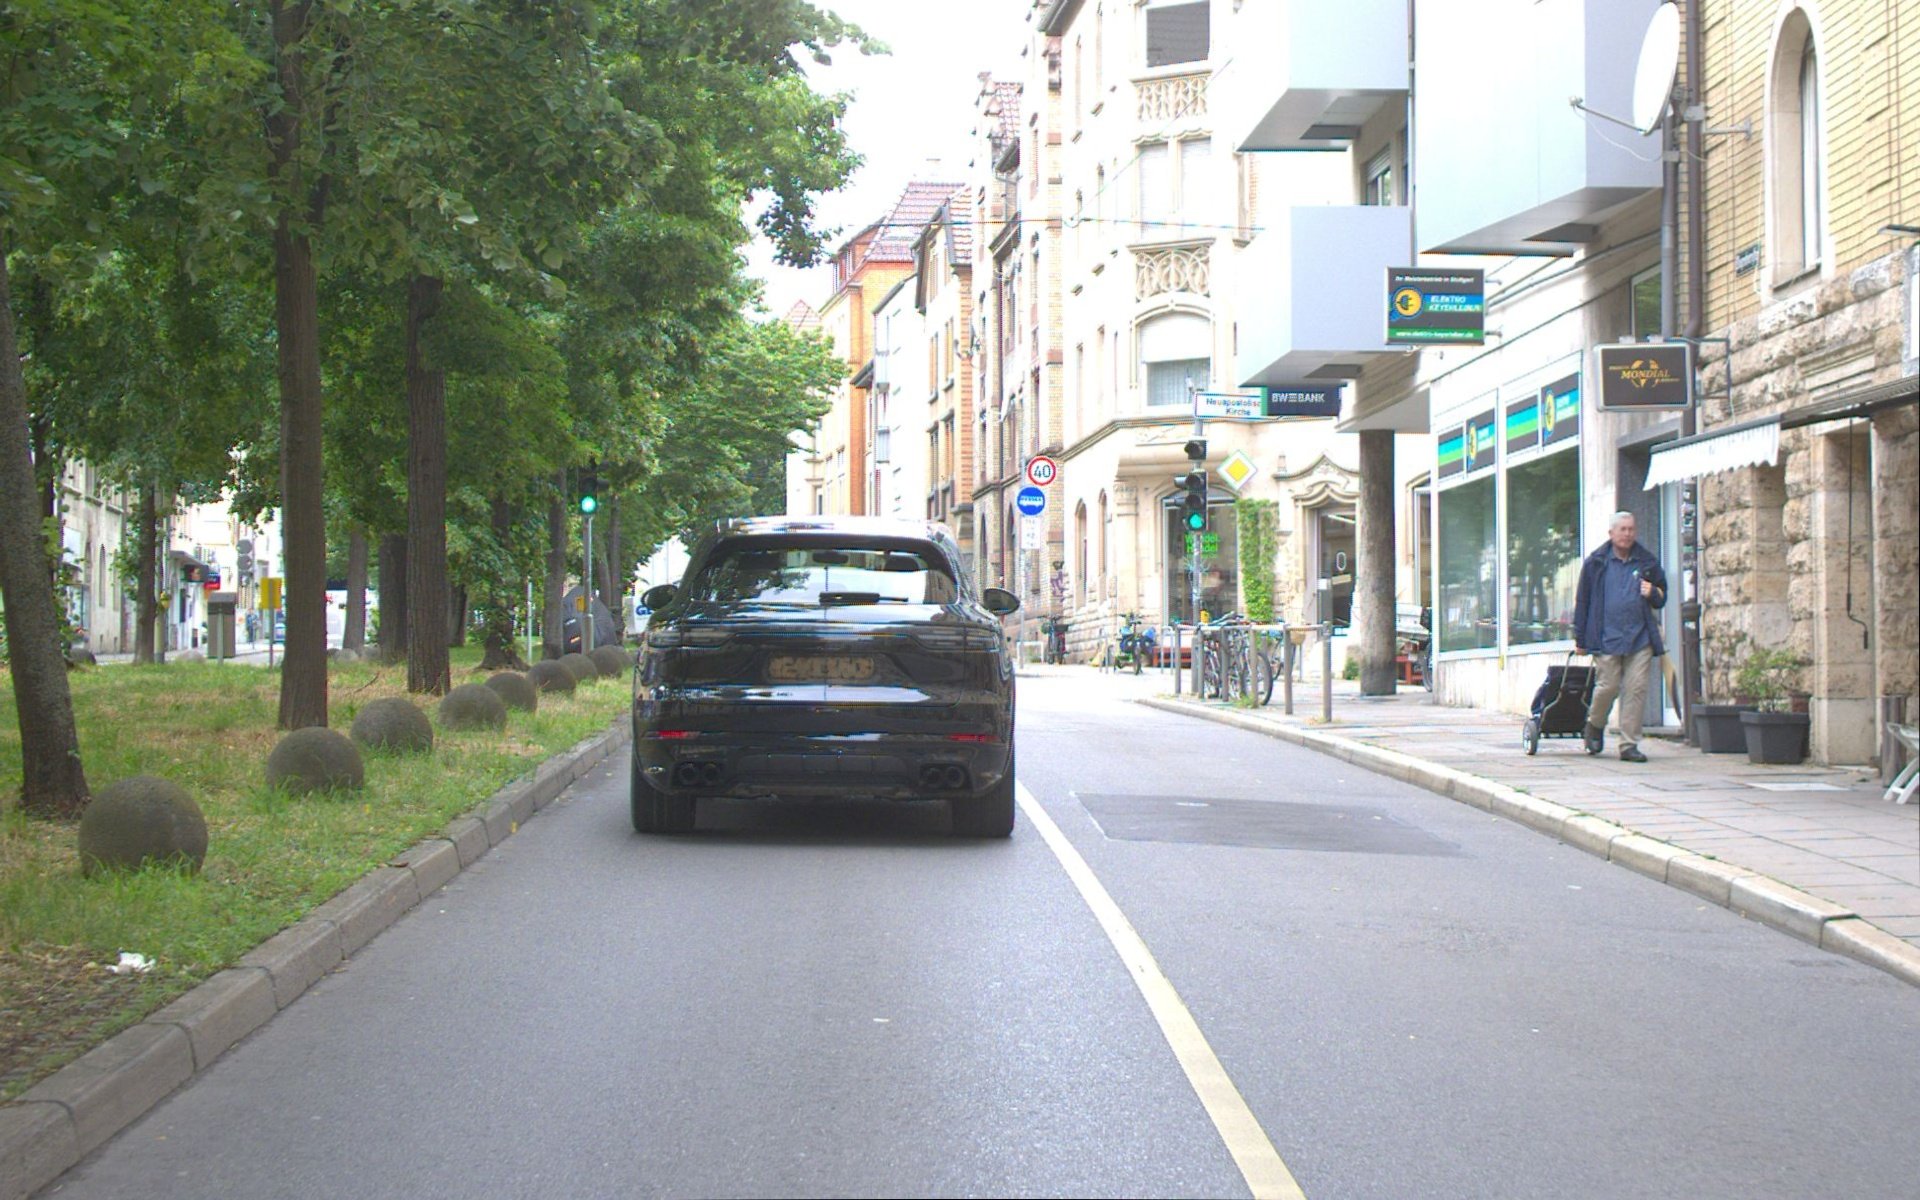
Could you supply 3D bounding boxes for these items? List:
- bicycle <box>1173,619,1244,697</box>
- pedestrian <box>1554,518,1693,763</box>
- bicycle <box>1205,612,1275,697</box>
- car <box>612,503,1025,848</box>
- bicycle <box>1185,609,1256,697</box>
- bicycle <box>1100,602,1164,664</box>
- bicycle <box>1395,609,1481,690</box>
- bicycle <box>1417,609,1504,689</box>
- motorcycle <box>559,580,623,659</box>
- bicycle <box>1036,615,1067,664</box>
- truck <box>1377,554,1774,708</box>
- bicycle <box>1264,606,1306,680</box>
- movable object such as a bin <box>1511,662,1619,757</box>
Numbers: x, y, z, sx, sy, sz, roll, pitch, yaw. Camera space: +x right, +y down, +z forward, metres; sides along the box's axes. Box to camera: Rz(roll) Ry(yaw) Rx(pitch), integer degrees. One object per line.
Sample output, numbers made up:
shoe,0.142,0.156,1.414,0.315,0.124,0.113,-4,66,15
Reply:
bicycle,3.005,0.696,41.677,0.286,0.928,1.761,1,-1,-15
pedestrian,4.691,0.286,24.355,0.751,1.687,0.858,-2,-1,-1
bicycle,3.169,0.619,38.986,0.569,0.928,1.775,1,-1,-2
car,-0.725,0.353,18.838,1.993,1.660,4.000,1,0,-1
bicycle,3.174,0.642,42.001,0.286,1.051,1.761,1,-1,-15
bicycle,3.192,0.622,64.067,0.879,1.125,2.979,1,-1,-3
bicycle,6.287,0.652,45.250,0.318,1.040,1.761,1,-1,-20
bicycle,6.595,0.644,45.367,0.318,1.040,1.761,1,-1,-20
motorcycle,-6.923,0.375,64.611,1.019,1.441,2.247,-1,-1,-3
bicycle,2.002,0.874,75.191,0.446,1.033,2.248,0,-1,-4
truck,9.615,0.480,53.930,5.557,2.126,2.382,3,0,-12
bicycle,5.870,0.773,62.108,0.446,1.157,1.835,-1,5,-4
movable object such as a bin,4.429,0.796,25.212,0.607,0.666,0.858,-2,-1,-1
